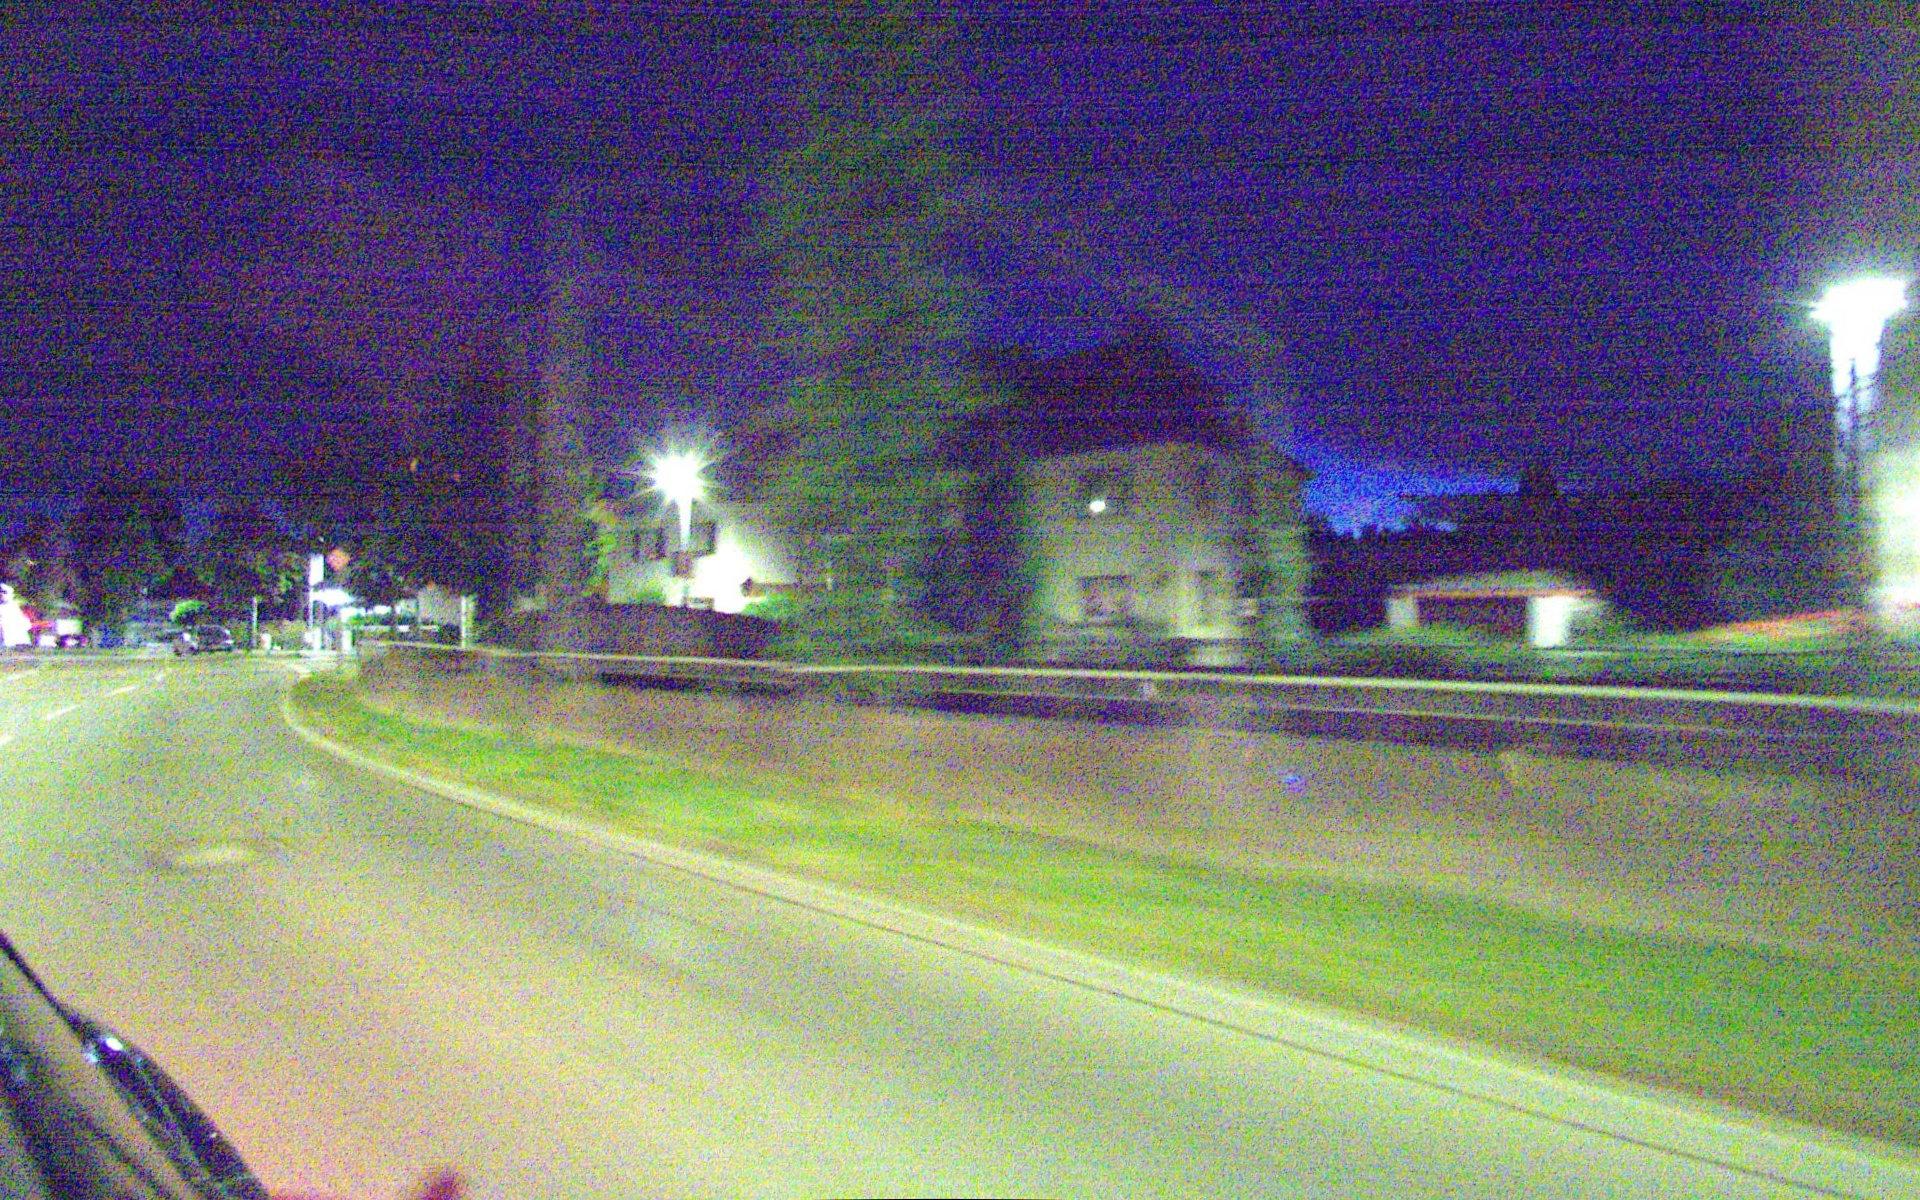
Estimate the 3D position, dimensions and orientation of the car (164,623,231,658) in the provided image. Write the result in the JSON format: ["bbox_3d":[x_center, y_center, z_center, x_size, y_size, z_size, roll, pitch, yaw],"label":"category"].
[{"bbox_3d":[-37.093,1.983,49.216,3.981,1.603,1.656,-2,-2,38],"label":"car"}]

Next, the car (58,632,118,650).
[{"bbox_3d":[-80.479,3.779,93.445,1.998,1.630,3.946,-3,-3,40],"label":"car"}]

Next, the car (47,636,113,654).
[{"bbox_3d":[-82.671,4.239,95.097,2.021,1.573,4.282,-2,-3,30],"label":"car"}]

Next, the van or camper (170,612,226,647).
[{"bbox_3d":[-62.919,2.460,83.499,5.917,2.768,2.056,-2,-2,36],"label":"van or camper"}]
